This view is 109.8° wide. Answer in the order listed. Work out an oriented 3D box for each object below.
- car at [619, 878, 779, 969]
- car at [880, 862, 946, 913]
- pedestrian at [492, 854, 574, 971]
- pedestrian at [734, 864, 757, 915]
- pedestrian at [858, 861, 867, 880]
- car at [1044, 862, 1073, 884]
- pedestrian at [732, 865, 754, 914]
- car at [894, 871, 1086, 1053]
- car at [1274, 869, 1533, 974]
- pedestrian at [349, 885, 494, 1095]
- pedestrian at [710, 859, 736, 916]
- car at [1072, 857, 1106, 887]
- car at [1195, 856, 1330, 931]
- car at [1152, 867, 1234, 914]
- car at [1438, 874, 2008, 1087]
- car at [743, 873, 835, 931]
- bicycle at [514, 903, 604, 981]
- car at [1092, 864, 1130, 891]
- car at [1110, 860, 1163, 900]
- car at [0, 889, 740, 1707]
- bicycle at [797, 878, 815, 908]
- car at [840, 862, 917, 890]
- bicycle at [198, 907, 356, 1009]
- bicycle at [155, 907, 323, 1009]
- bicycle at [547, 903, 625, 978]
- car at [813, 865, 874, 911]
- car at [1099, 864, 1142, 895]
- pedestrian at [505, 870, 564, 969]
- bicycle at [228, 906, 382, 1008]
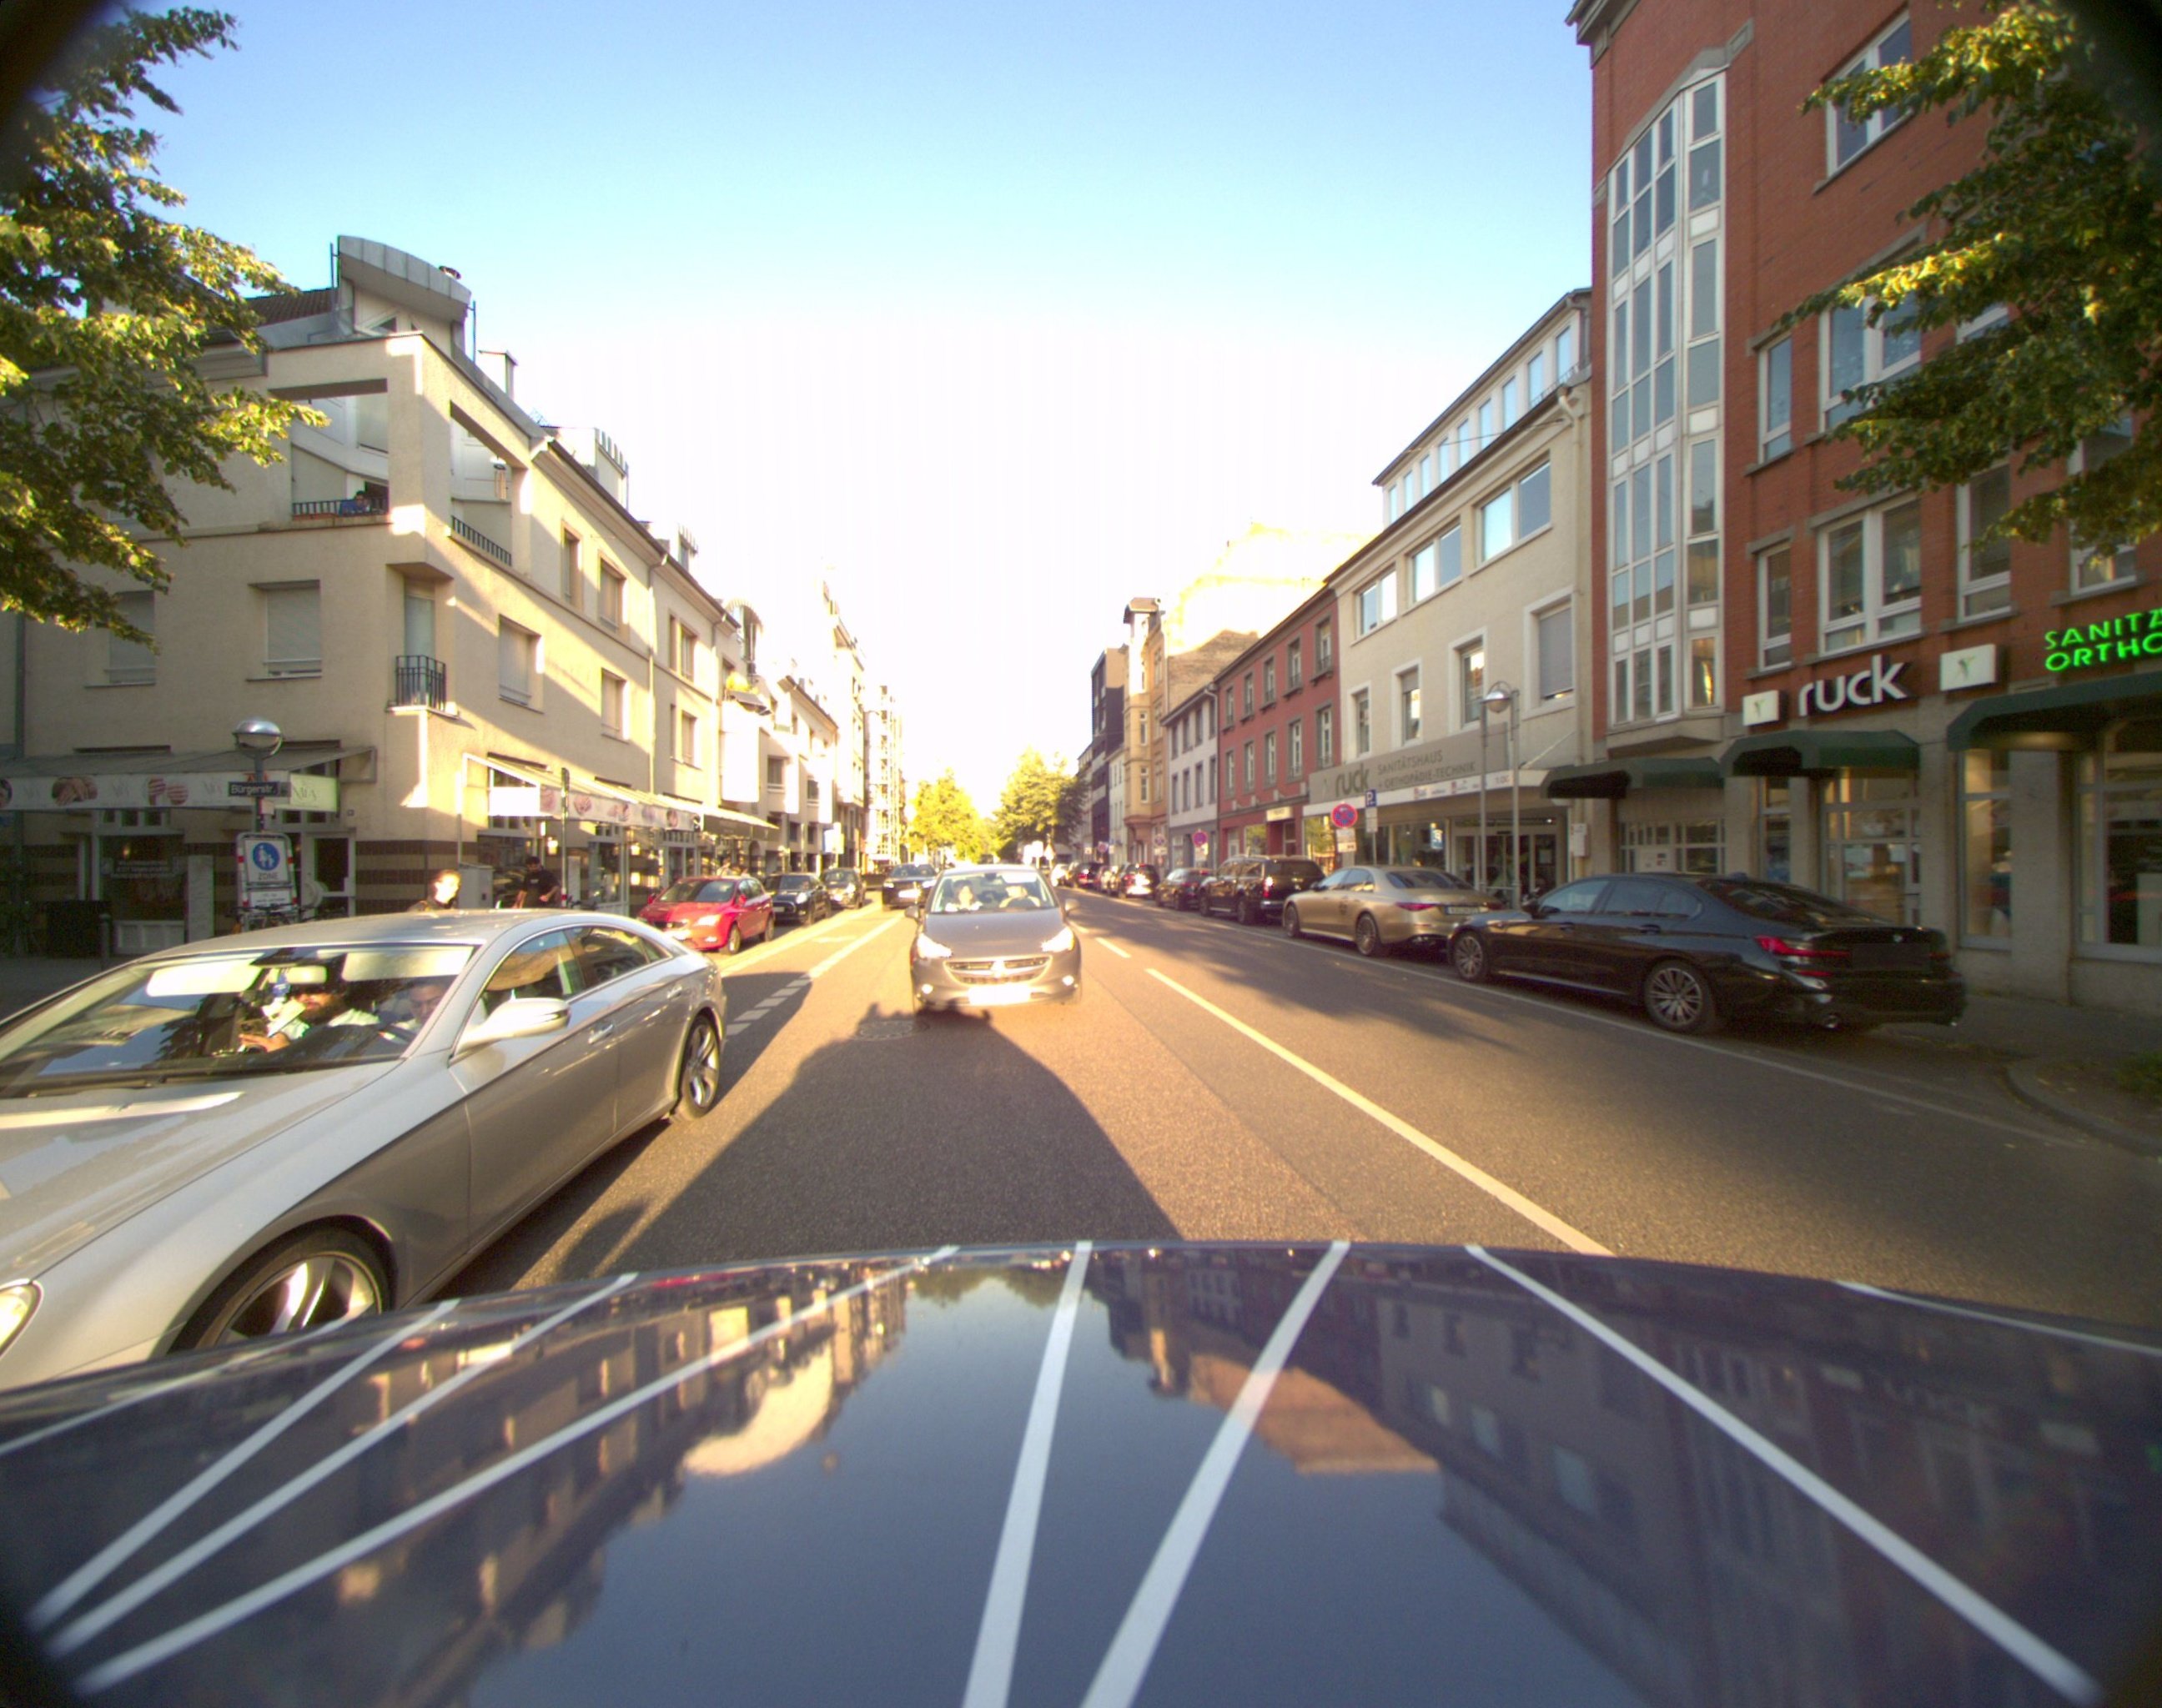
[{"bbox_3d":[-7.204,1.230,14.761,1.594,1.425,3.923,0,0,-8],"label":"car"},{"bbox_3d":[-5.986,1.143,27.502,1.891,1.626,4.224,-2,0,-8],"label":"car"},{"bbox_3d":[-9.193,0.955,12.785,0.779,1.872,0.669,-4,1,-8],"label":"pedestrian"},{"bbox_3d":[-10.724,1.123,24.295,0.521,1.583,0.408,2,0,-8],"label":"pedestrian"},{"bbox_3d":[-15.477,1.163,53.792,0.492,1.256,0.421,-2,1,-7],"label":"pedestrian"},{"bbox_3d":[-1.640,1.331,54.856,1.674,1.512,3.562,1,0,-8],"label":"car"},{"bbox_3d":[-12.416,1.297,27.913,0.576,1.789,0.450,-2,1,-7],"label":"pedestrian"},{"bbox_3d":[-1.039,0.981,8.533,1.623,1.465,3.686,-2,0,-8],"label":"car"},{"bbox_3d":[5.331,1.034,13.519,2.000,1.463,5.104,1,-1,-6],"label":"car"},{"bbox_3d":[-5.774,1.125,6.664,0.795,1.666,0.704,2,1,28],"label":"pedestrian"},{"bbox_3d":[-11.298,1.052,23.991,0.545,1.748,0.502,2,0,-8],"label":"pedestrian"},{"bbox_3d":[0.452,1.136,47.926,1.674,1.763,3.563,2,-1,-6],"label":"car"},{"bbox_3d":[4.668,0.963,20.357,1.726,1.768,4.935,1,-1,-9],"label":"car"},{"bbox_3d":[3.820,1.217,26.522,1.707,1.429,4.011,2,-1,-8],"label":"car"},{"bbox_3d":[5.872,1.007,7.900,1.726,1.464,4.538,2,-1,-7],"label":"car"},{"bbox_3d":[-8.210,1.282,21.714,1.622,1.425,3.923,0,0,-8],"label":"car"},{"bbox_3d":[-8.378,1.372,12.276,0.315,1.040,1.881,0,0,-5],"label":"bicycle"},{"bbox_3d":[1.716,1.320,44.161,1.674,1.448,3.563,2,-1,-6],"label":"car"},{"bbox_3d":[2.482,1.151,35.087,1.726,1.673,4.047,2,-1,-6],"label":"car"},{"bbox_3d":[-3.065,1.029,3.135,1.748,1.393,4.634,-1,2,-8],"label":"car"},{"bbox_3d":[-10.638,1.513,29.412,0.296,1.079,1.462,-1,0,-7],"label":"bicycle"},{"bbox_3d":[-12.340,1.330,46.459,4.294,1.665,1.735,0,0,-4],"label":"car"},{"bbox_3d":[-10.595,1.319,10.110,0.291,1.098,1.886,-1,0,-7],"label":"bicycle"},{"bbox_3d":[-11.060,1.314,10.074,0.322,1.098,1.878,-1,0,-7],"label":"bicycle"},{"bbox_3d":[-8.043,1.368,12.402,0.315,1.040,1.664,0,0,-5],"label":"bicycle"},{"bbox_3d":[-9.069,1.251,29.231,1.622,1.583,3.923,-1,0,-8],"label":"car"},{"bbox_3d":[2.040,1.304,40.038,1.690,1.461,3.689,2,-1,-6],"label":"car"},{"bbox_3d":[-9.908,1.169,13.800,0.631,1.739,0.669,0,0,-8],"label":"pedestrian"},{"bbox_3d":[-10.281,1.319,10.158,0.322,1.098,1.878,-1,0,-7],"label":"bicycle"}]
